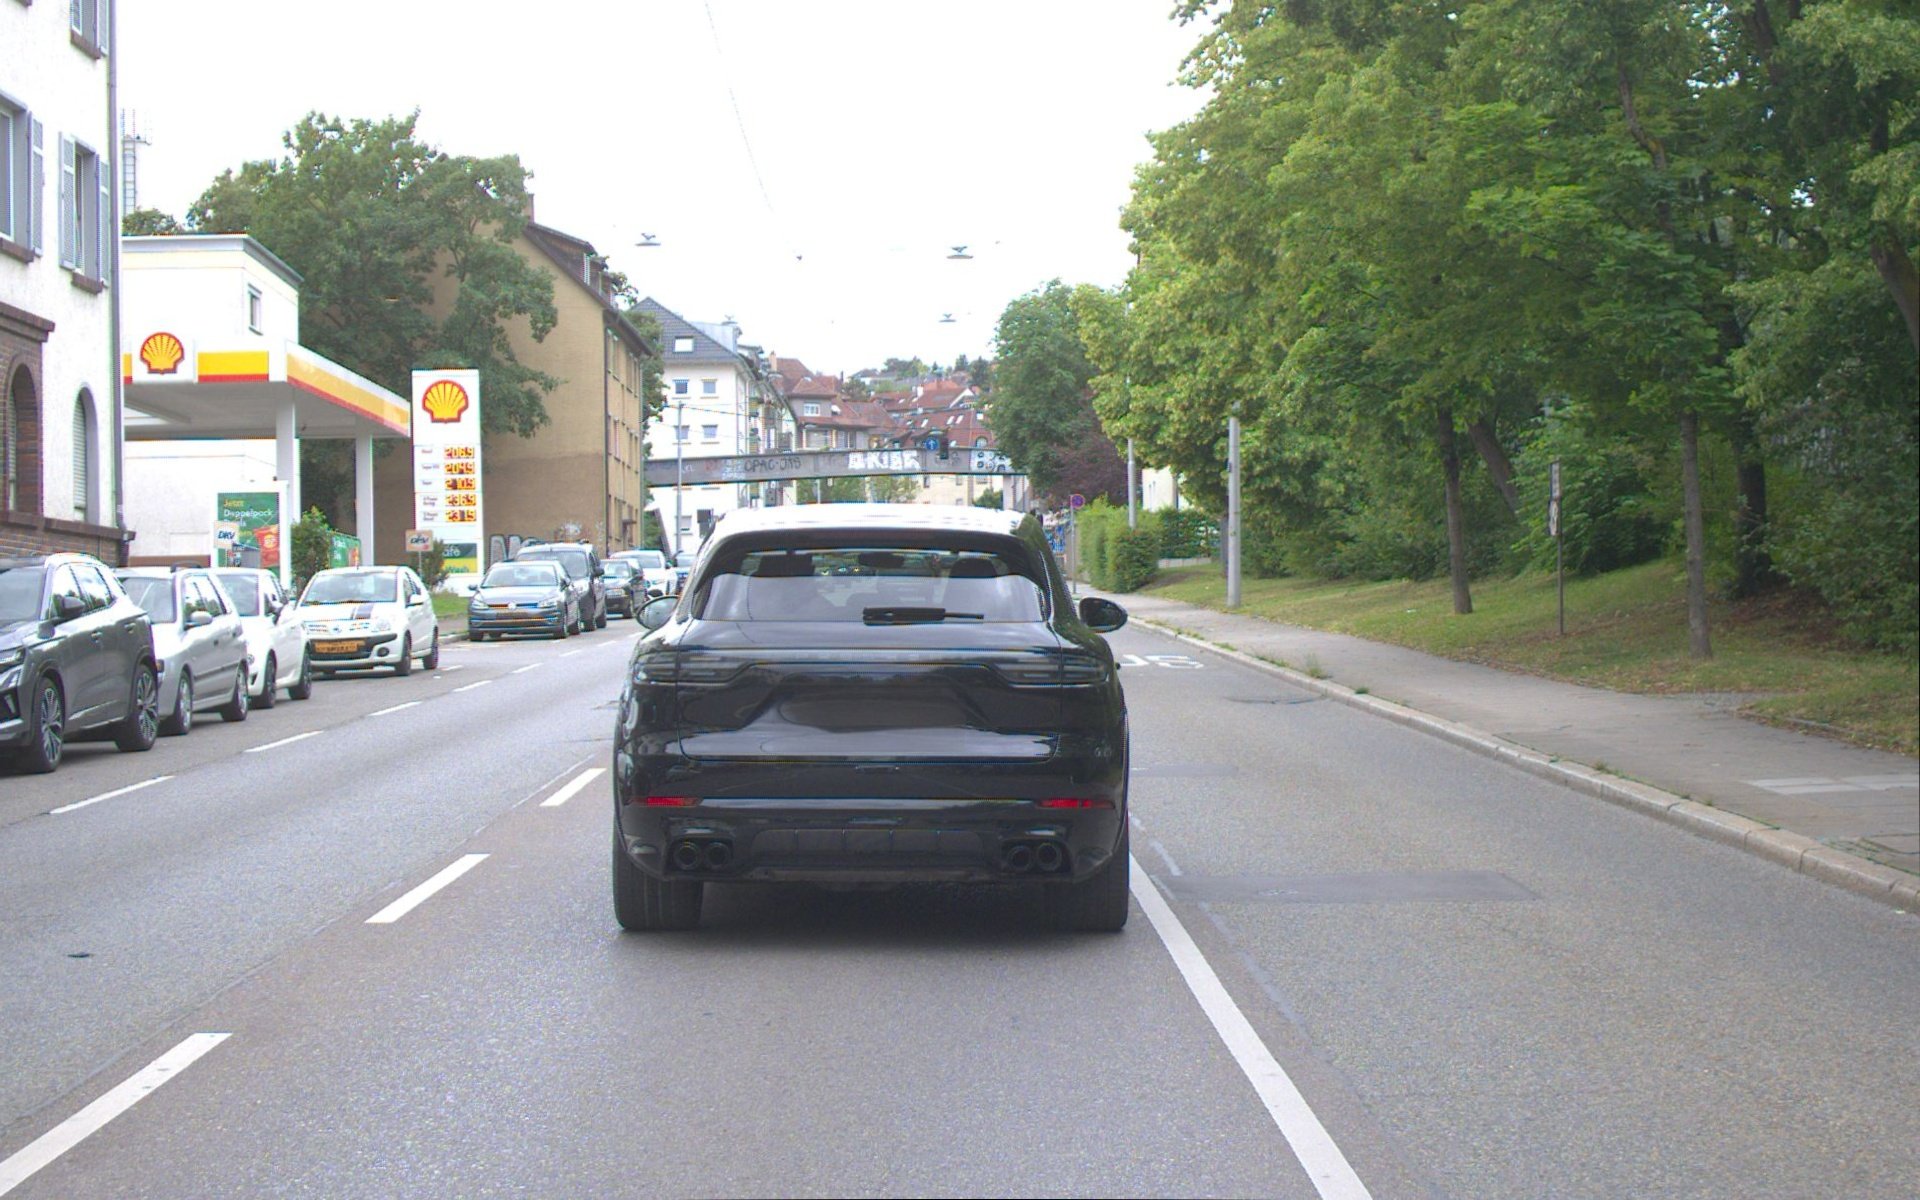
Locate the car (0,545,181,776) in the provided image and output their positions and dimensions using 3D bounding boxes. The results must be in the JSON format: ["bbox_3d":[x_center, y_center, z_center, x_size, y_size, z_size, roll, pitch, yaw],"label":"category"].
[{"bbox_3d":[-7.454,0.408,26.472,1.727,1.593,4.502,-1,1,2],"label":"car"}]

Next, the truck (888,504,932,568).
[{"bbox_3d":[-2.747,-3.498,189.052,2.266,3.412,9.879,-1,1,-1],"label":"truck"}]

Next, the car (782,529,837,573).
[{"bbox_3d":[-5.482,-1.801,125.568,1.797,1.520,4.000,-2,1,-1],"label":"car"}]

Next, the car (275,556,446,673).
[{"bbox_3d":[-7.964,0.167,45.967,1.619,1.420,3.665,-1,1,0],"label":"car"}]

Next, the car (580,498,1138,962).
[{"bbox_3d":[-0.368,0.414,14.311,1.993,1.656,4.000,0,2,0],"label":"car"}]

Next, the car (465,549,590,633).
[{"bbox_3d":[-8.033,-0.198,64.183,1.790,1.445,4.218,-2,1,-1],"label":"car"}]

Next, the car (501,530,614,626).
[{"bbox_3d":[-8.164,-0.480,70.041,1.851,1.829,4.702,-2,1,-2],"label":"car"}]

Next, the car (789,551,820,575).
[{"bbox_3d":[-9.971,-2.348,220.194,1.765,1.503,4.000,-1,1,0],"label":"car"}]

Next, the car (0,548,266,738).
[{"bbox_3d":[-7.706,0.347,31.805,1.727,1.553,4.082,-3,1,-1],"label":"car"}]

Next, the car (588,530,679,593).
[{"bbox_3d":[-8.576,-1.038,90.688,1.915,1.572,4.700,-1,1,0],"label":"car"}]

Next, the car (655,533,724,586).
[{"bbox_3d":[-8.820,-1.320,112.259,1.783,1.603,4.264,-3,1,1],"label":"car"}]

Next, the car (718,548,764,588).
[{"bbox_3d":[-9.065,-1.349,142.544,1.745,1.563,3.909,-2,1,-2],"label":"car"}]

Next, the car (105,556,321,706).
[{"bbox_3d":[-7.938,0.289,36.801,1.547,1.470,3.604,-1,1,-1],"label":"car"}]

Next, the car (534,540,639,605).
[{"bbox_3d":[-8.764,-0.666,80.997,1.798,1.426,4.743,-2,1,2],"label":"car"}]
